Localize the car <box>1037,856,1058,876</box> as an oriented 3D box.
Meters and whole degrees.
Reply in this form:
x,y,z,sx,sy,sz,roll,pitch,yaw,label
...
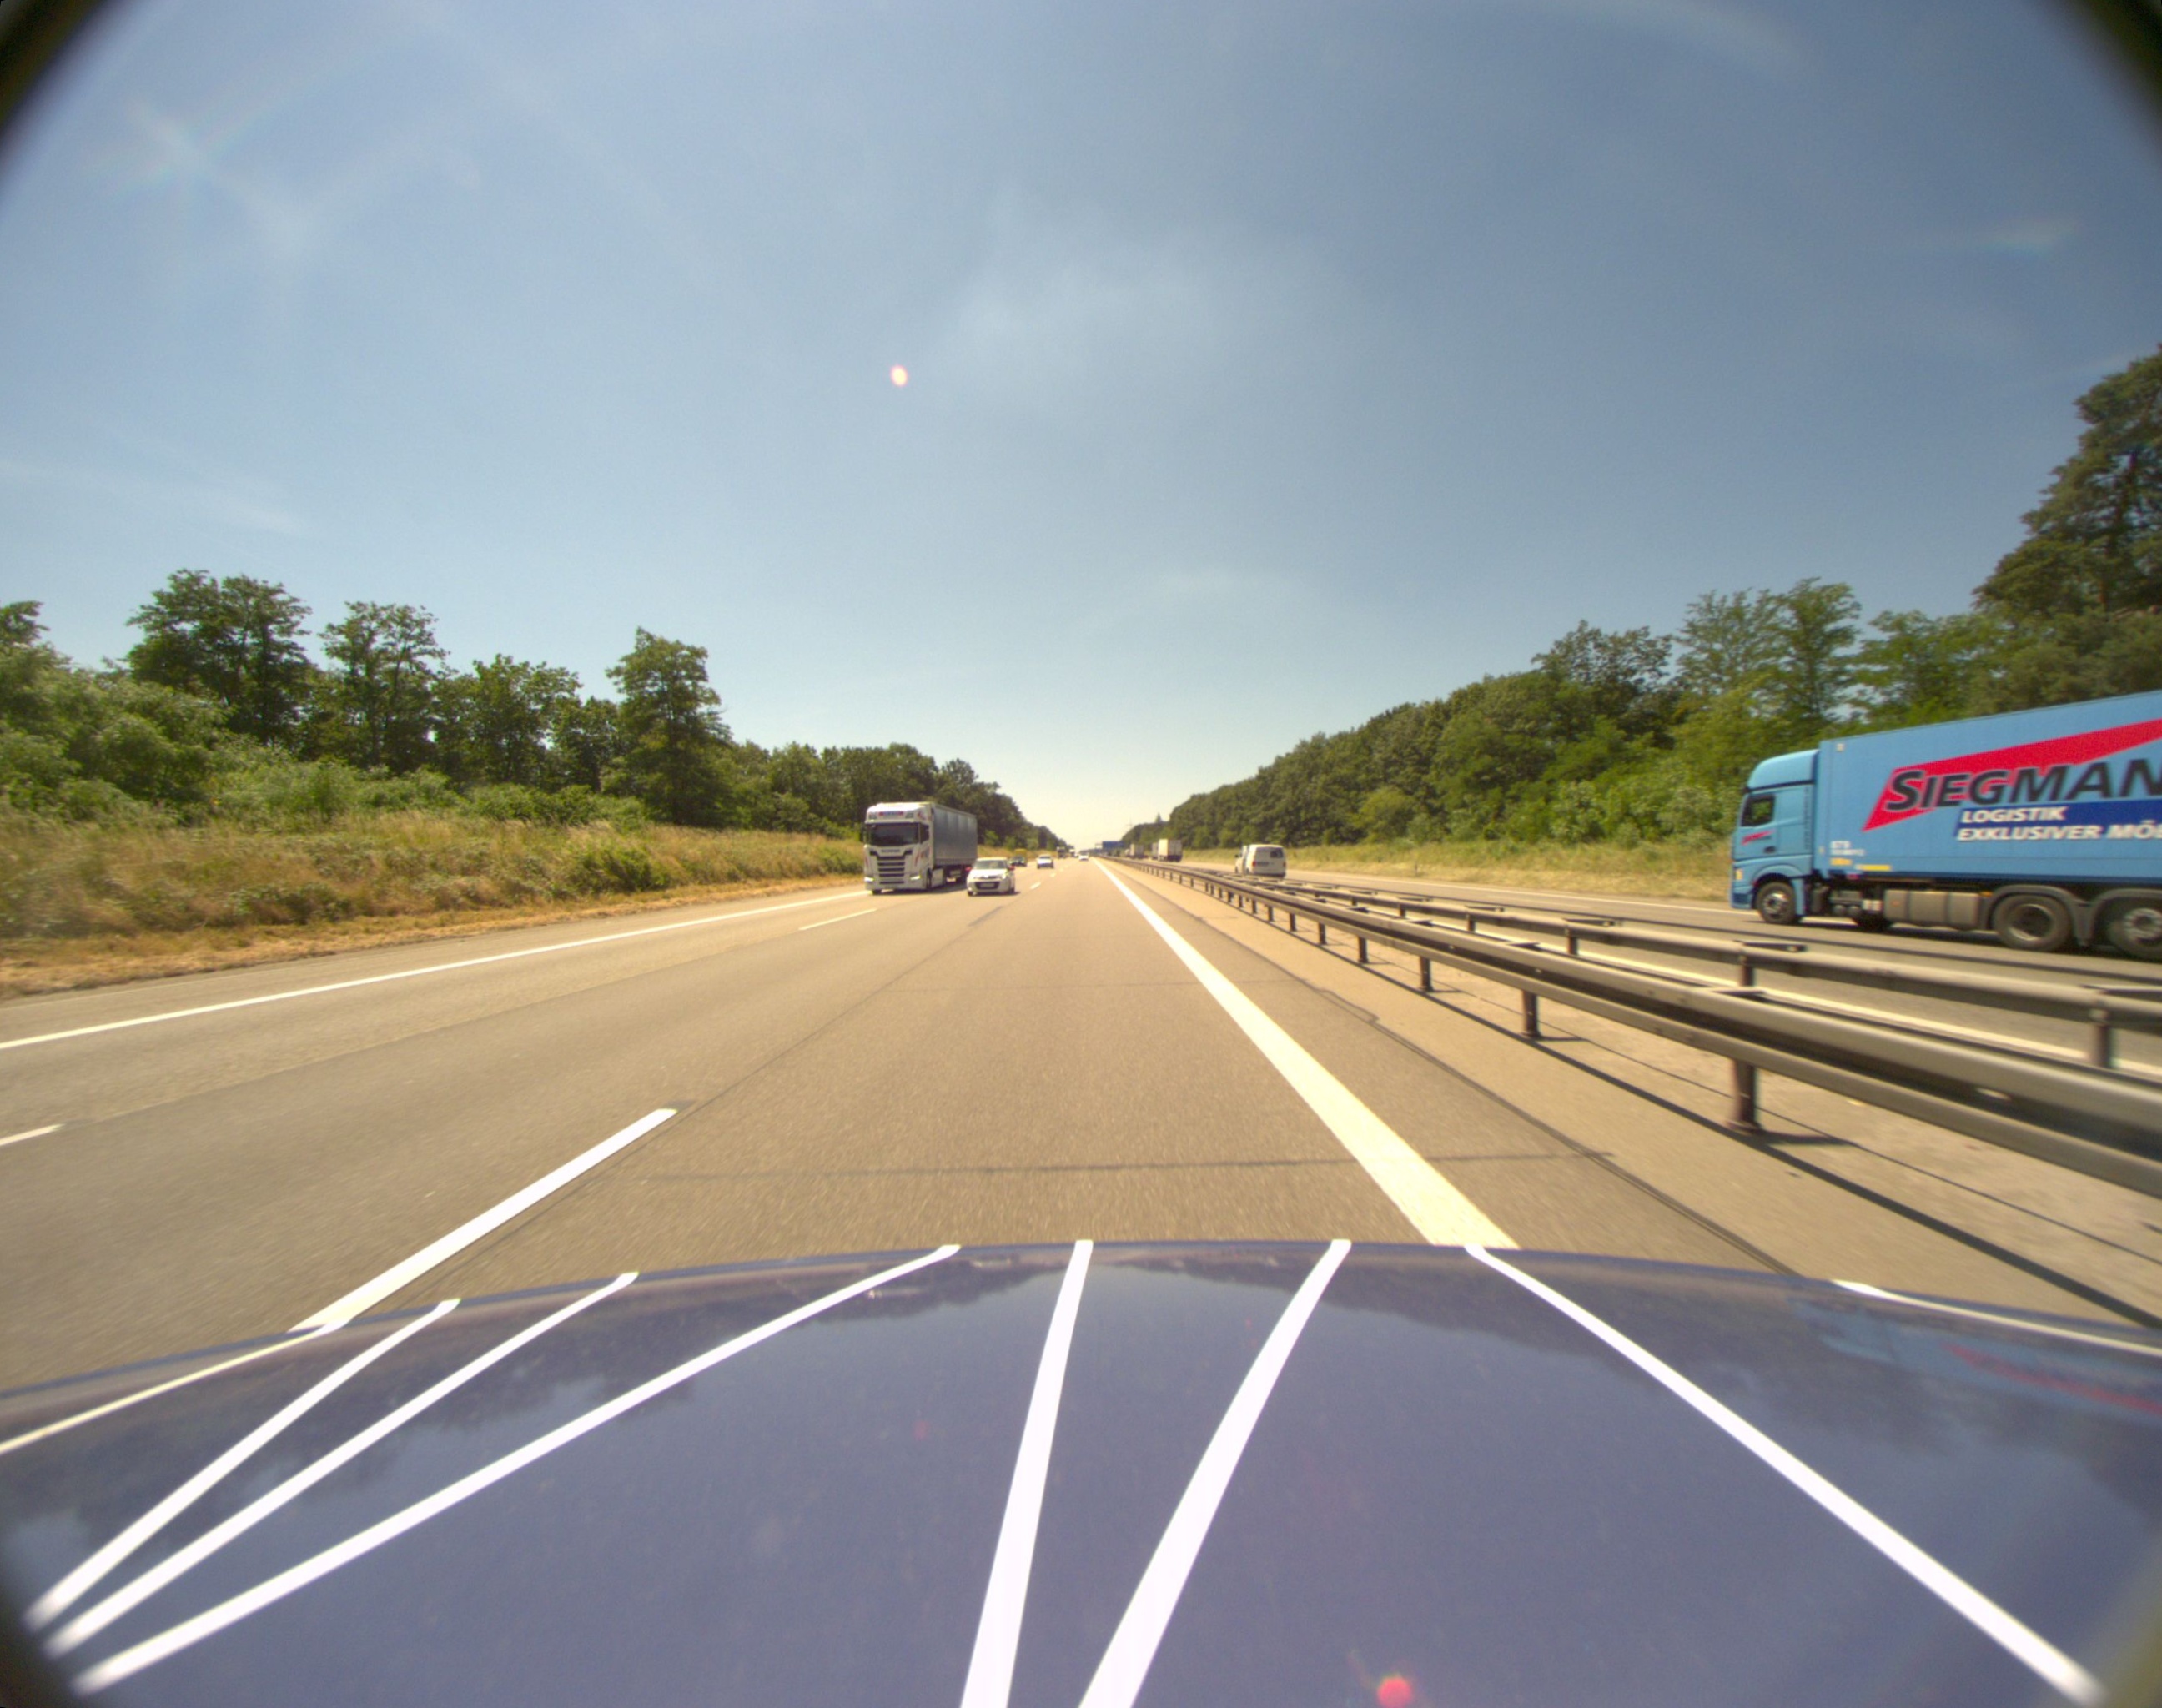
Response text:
x,y,z,sx,sy,sz,roll,pitch,yaw,label
-3.547,1.251,81.054,1.998,2.002,4.000,-2,1,1,car

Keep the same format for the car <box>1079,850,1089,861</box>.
x,y,z,sx,sy,sz,roll,pitch,yaw,label
0.661,0.267,152.787,1.998,2.002,4.000,-2,1,1,car

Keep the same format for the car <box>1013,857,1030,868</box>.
x,y,z,sx,sy,sz,roll,pitch,yaw,label
-7.577,1.089,96.551,1.845,1.275,3.352,-2,1,1,car

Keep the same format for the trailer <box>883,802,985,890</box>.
x,y,z,sx,sy,sz,roll,pitch,yaw,label
-7.675,-0.424,42.086,2.603,3.980,14.079,-2,1,1,trailer

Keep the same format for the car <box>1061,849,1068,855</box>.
x,y,z,sx,sy,sz,roll,pitch,yaw,label
-5.319,-0.677,240.723,1.998,2.002,4.000,-2,1,1,car

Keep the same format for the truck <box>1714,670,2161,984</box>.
x,y,z,sx,sy,sz,roll,pitch,yaw,label
17.184,-0.408,13.599,3.065,4.532,10.458,0,1,1,truck

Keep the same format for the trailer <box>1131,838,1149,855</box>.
x,y,z,sx,sy,sz,roll,pitch,yaw,label
15.634,-2.011,202.983,3.539,4.160,13.661,2,1,0,trailer

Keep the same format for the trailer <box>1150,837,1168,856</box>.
x,y,z,sx,sy,sz,roll,pitch,yaw,label
18.744,-1.783,183.370,2.940,4.160,13.853,2,1,0,trailer

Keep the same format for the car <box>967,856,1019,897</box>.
x,y,z,sx,sy,sz,roll,pitch,yaw,label
-3.417,0.854,30.090,1.581,1.412,3.352,-2,1,1,car

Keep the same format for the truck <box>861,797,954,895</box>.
x,y,z,sx,sy,sz,roll,pitch,yaw,label
-7.746,-0.355,34.731,2.603,3.980,6.173,-2,1,1,truck

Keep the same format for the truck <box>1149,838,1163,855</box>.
x,y,z,sx,sy,sz,roll,pitch,yaw,label
18.767,-1.844,190.052,2.940,4.160,6.039,2,1,0,truck

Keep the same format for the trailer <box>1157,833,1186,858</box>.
x,y,z,sx,sy,sz,roll,pitch,yaw,label
16.360,-1.475,138.201,3.539,4.160,13.604,2,1,0,trailer

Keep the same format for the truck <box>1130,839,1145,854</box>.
x,y,z,sx,sy,sz,roll,pitch,yaw,label
15.621,-2.072,209.733,3.539,4.160,7.112,2,1,0,truck

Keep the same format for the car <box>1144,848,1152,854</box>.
x,y,z,sx,sy,sz,roll,pitch,yaw,label
20.819,-0.985,235.786,1.836,1.844,5.236,1,1,0,car

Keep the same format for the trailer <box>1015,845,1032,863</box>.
x,y,z,sx,sy,sz,roll,pitch,yaw,label
-7.585,-0.004,99.808,1.849,2.196,3.197,-2,1,1,trailer

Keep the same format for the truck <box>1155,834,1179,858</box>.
x,y,z,sx,sy,sz,roll,pitch,yaw,label
16.403,-1.578,145.296,3.539,4.296,7.058,2,1,0,truck

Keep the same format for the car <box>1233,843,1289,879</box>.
x,y,z,sx,sy,sz,roll,pitch,yaw,label
9.792,0.335,41.811,1.836,1.844,5.236,1,1,0,car
